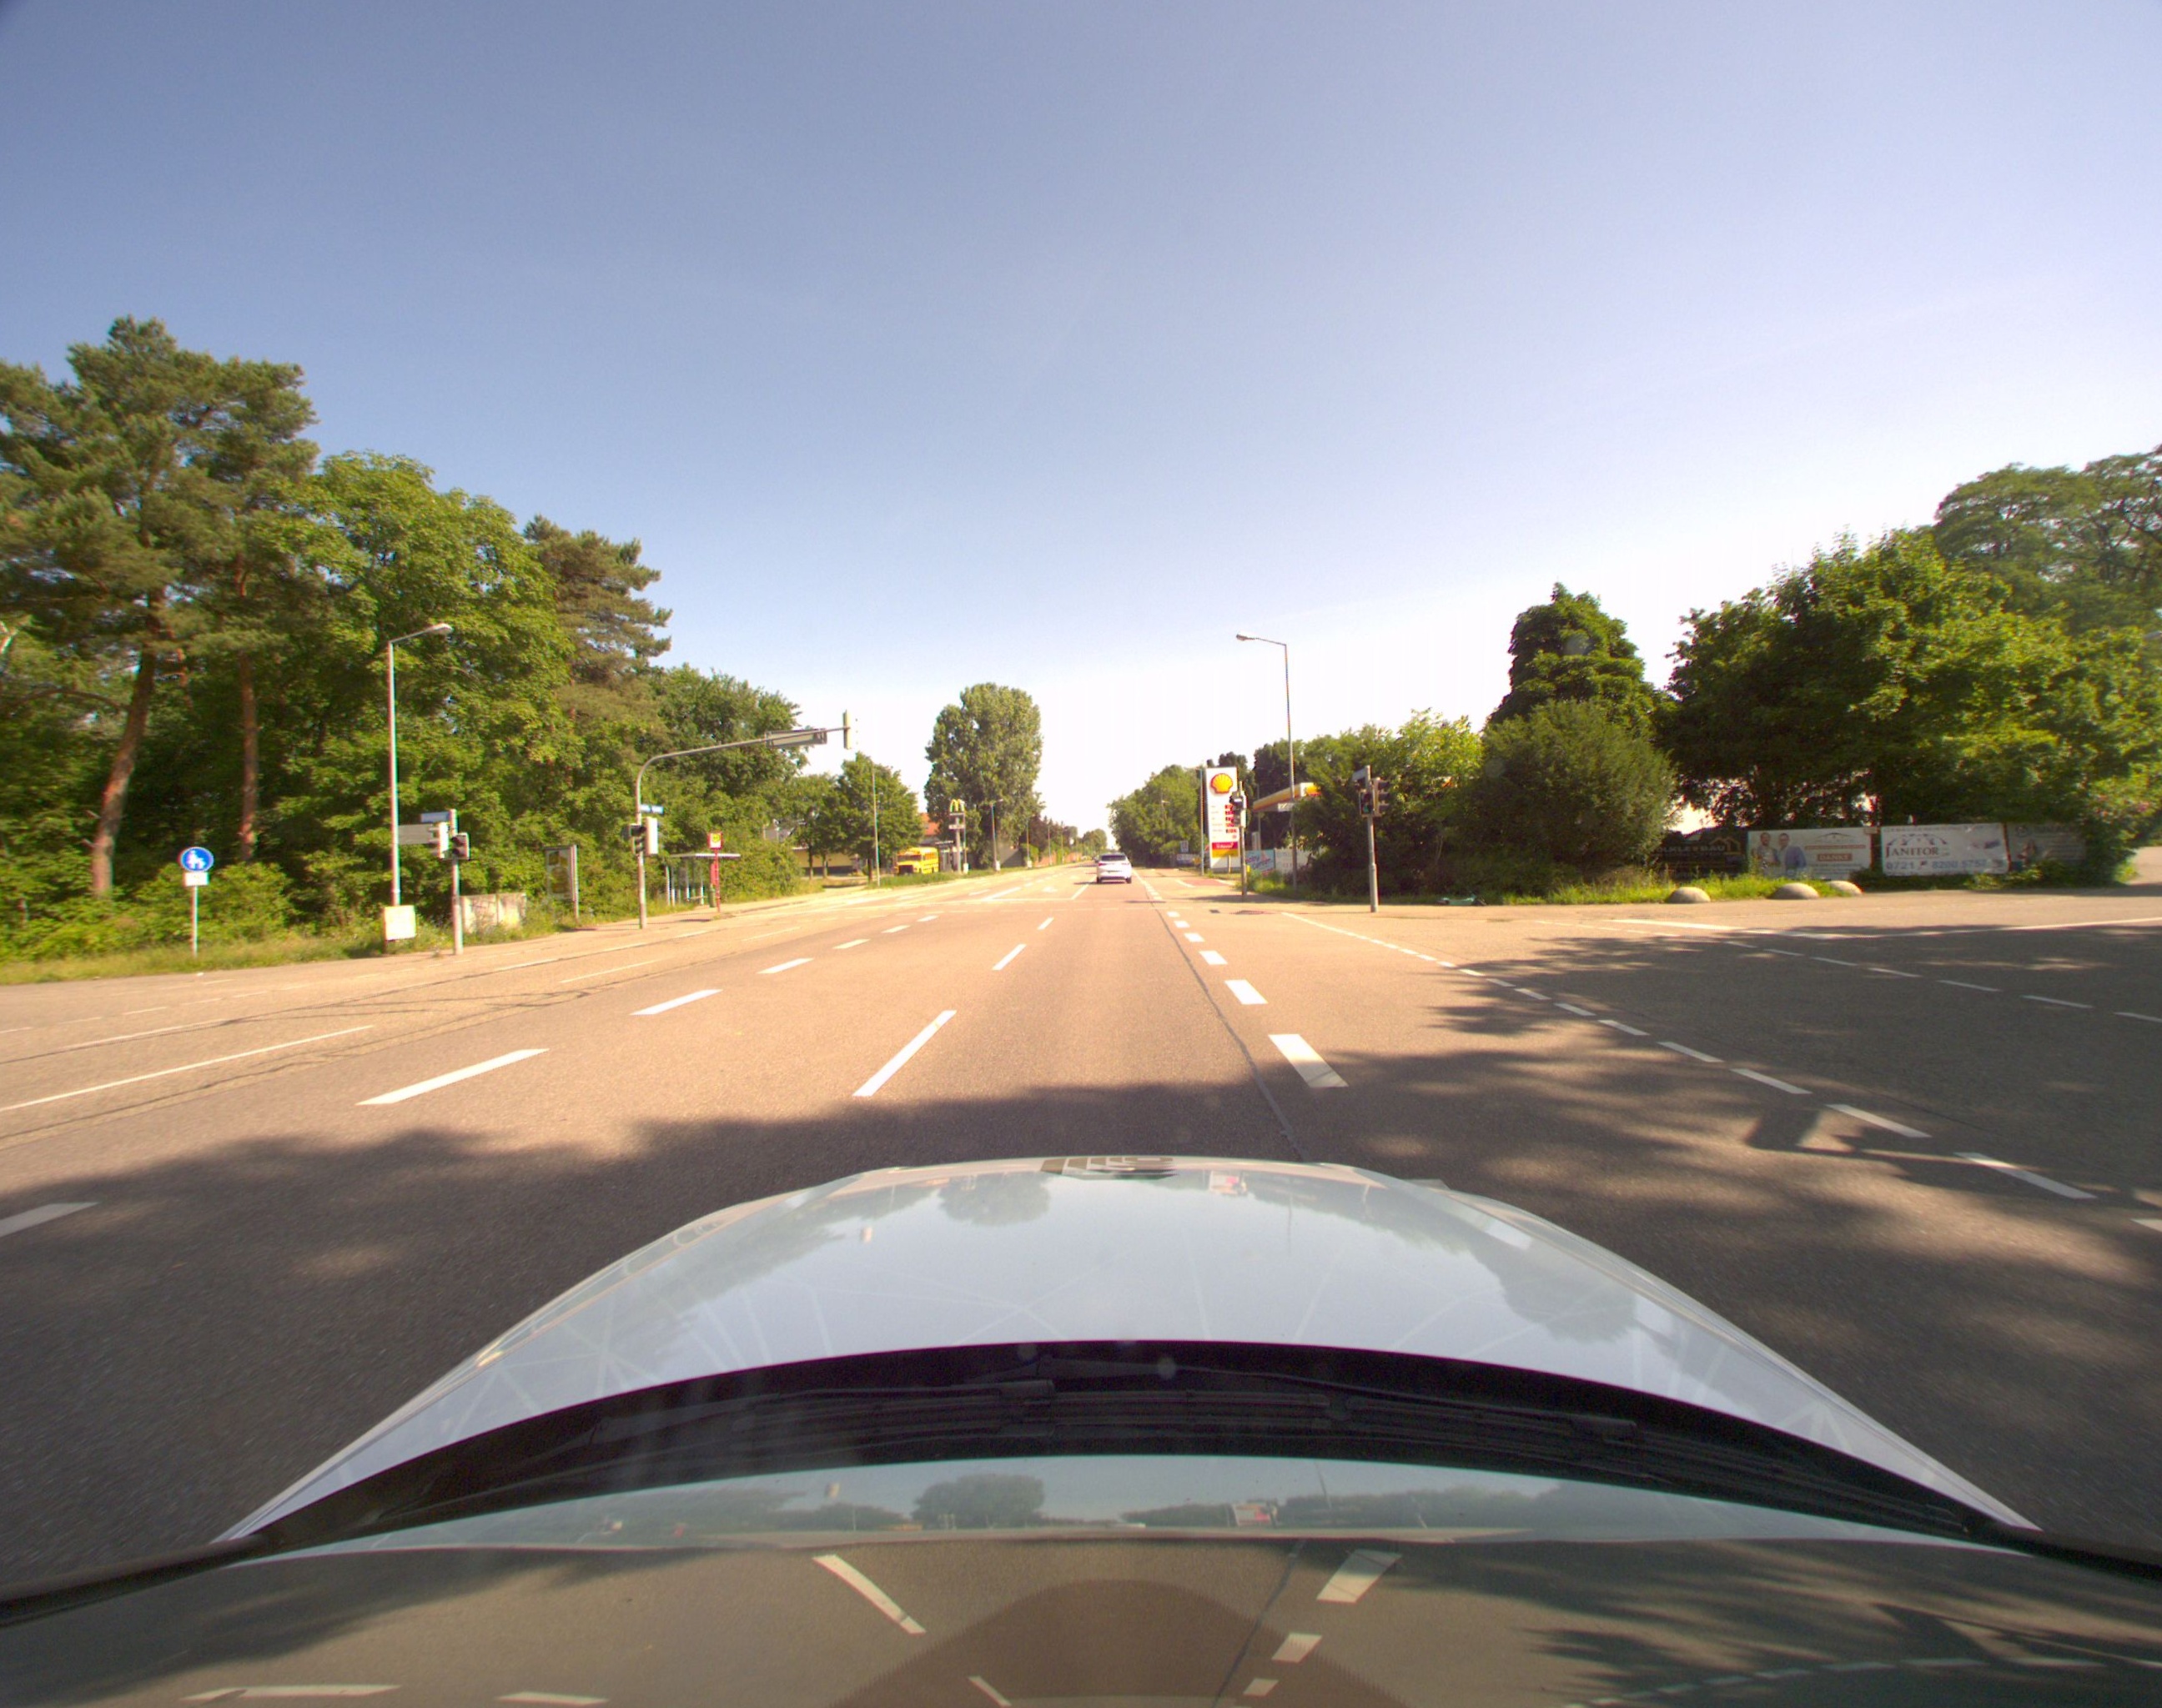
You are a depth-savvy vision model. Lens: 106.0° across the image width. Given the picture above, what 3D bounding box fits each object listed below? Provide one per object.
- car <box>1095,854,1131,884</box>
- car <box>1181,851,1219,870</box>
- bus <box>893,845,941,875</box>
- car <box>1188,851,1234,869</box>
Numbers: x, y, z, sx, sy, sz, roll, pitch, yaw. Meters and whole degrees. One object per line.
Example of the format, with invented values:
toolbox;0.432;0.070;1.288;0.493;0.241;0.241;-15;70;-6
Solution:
car;1.733;0.799;43.866;1.839;1.541;4.227;-1;-1;3
car;9.872;0.533;67.764;1.587;1.530;2.697;0;-2;-43
bus;-15.433;0.567;77.257;2.570;2.679;8.998;-1;-1;1
car;12.033;0.556;75.729;3.980;1.530;1.583;-1;-1;-5
